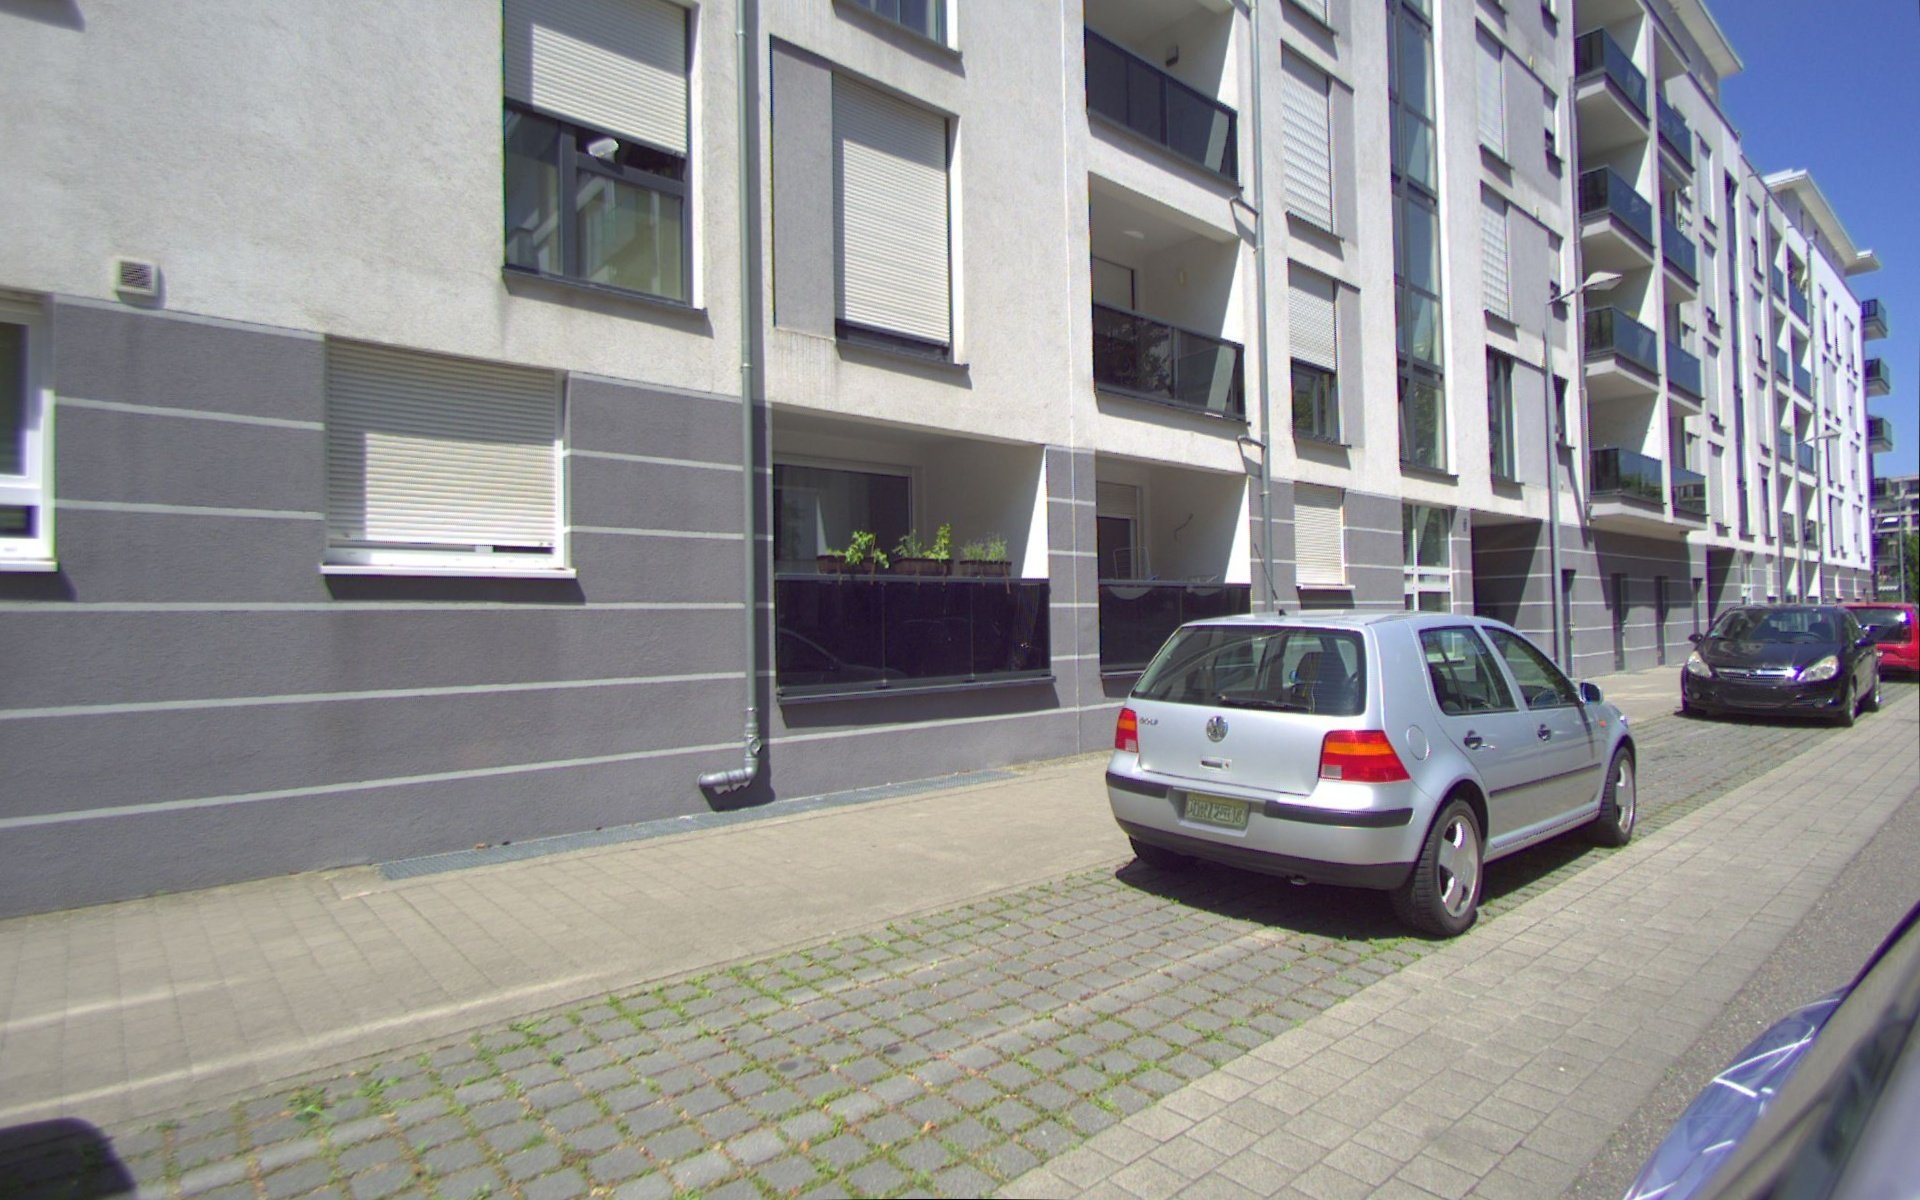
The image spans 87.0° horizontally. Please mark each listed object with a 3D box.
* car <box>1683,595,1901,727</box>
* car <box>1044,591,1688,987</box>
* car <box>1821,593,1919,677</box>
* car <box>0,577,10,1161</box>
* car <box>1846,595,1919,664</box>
[{"bbox_3d":[11.072,0.677,13.369,4.047,1.481,1.645,0,0,-42],"label":"car"},{"bbox_3d":[2.640,0.721,6.013,4.275,1.524,1.837,0,0,-41],"label":"car"},{"bbox_3d":[18.215,0.629,19.785,3.611,1.504,1.598,0,0,-41],"label":"car"},{"bbox_3d":[-3.583,0.693,0.716,4.155,1.504,1.741,0,-1,-41],"label":"car"},{"bbox_3d":[22.143,0.638,23.561,4.184,1.506,1.740,0,0,-41],"label":"car"}]
